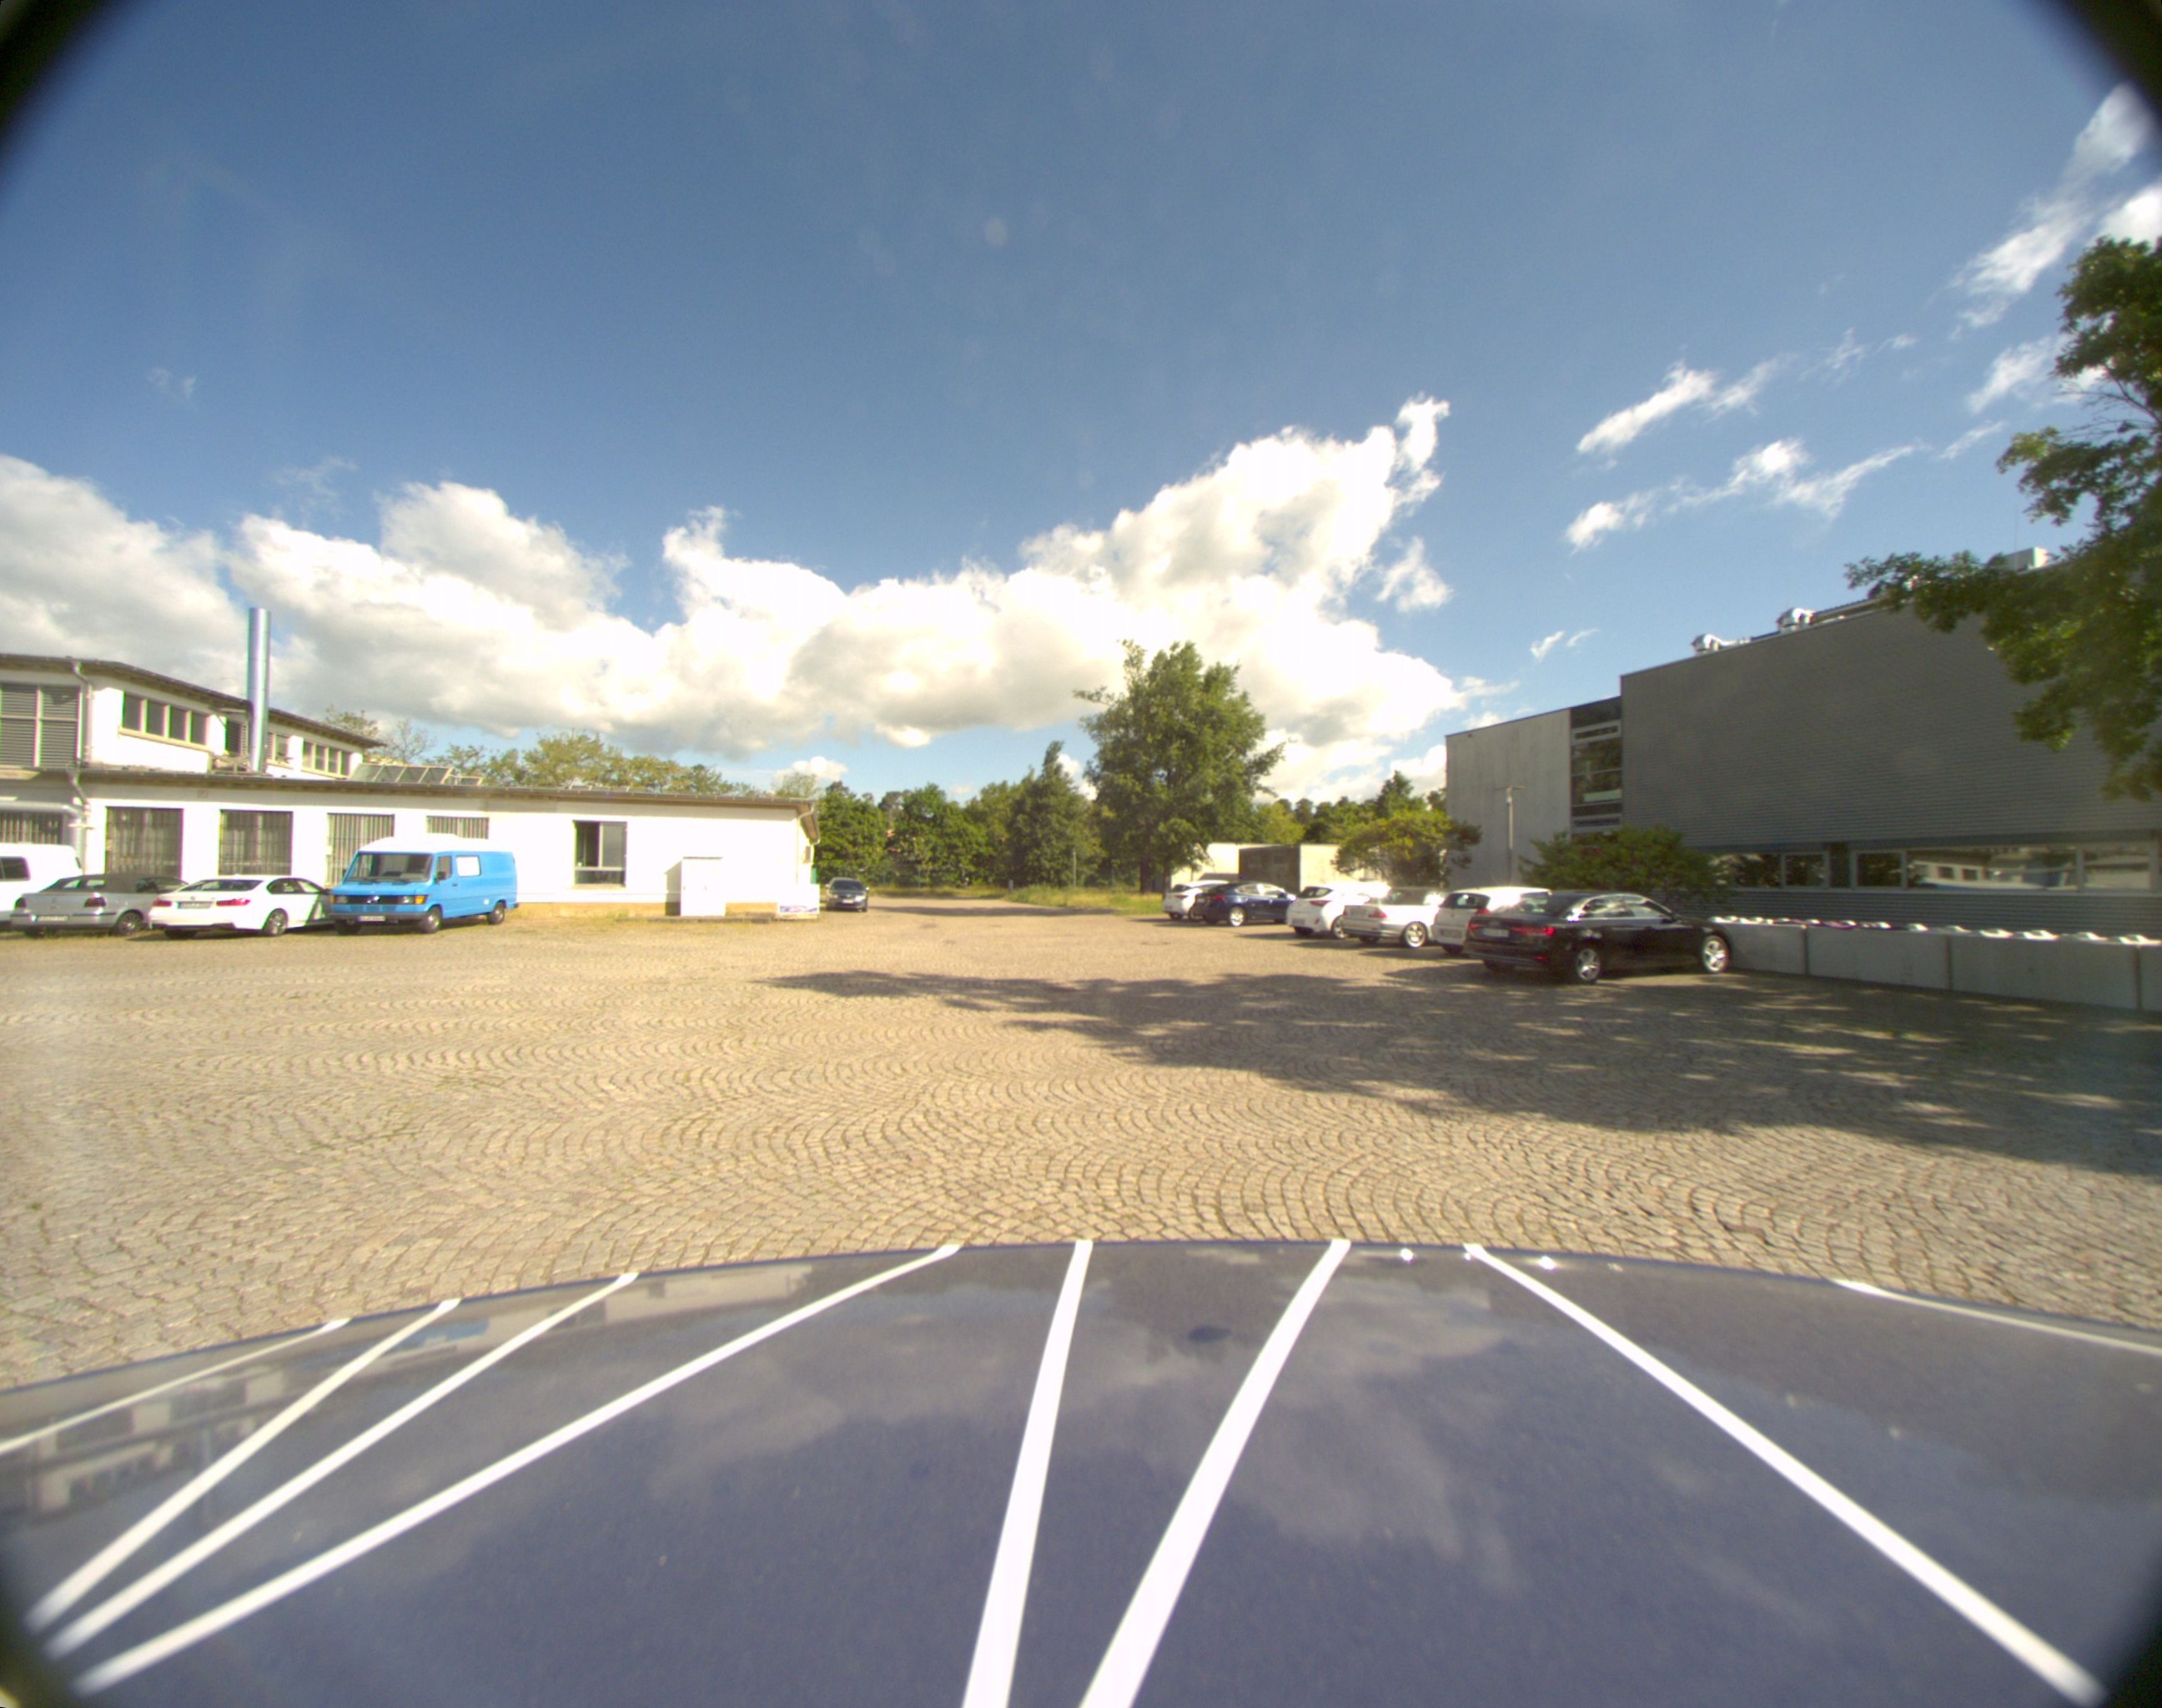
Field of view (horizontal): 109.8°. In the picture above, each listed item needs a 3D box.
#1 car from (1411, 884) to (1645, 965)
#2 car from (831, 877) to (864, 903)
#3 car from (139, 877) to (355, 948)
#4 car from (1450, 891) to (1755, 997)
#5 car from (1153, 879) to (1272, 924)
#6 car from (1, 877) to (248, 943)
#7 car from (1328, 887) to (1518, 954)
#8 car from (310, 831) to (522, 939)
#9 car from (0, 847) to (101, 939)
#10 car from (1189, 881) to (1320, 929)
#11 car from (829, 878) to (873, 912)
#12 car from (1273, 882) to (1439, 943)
[{"bbox_3d":[9.264,1.402,15.843,4.153,1.451,1.690,-1,-1,-13],"label":"car"},{"bbox_3d":[-13.522,2.066,43.955,1.694,1.426,3.981,2,-2,-17],"label":"car"},{"bbox_3d":[-19.530,1.291,18.063,1.739,1.397,3.733,0,0,-16],"label":"car"},{"bbox_3d":[8.786,1.404,12.818,4.738,1.414,1.754,-1,-1,-19],"label":"car"},{"bbox_3d":[4.805,1.697,27.857,3.928,1.427,1.793,-1,1,-17],"label":"car"},{"bbox_3d":[-22.466,1.250,18.109,1.693,1.390,3.827,1,-2,-16],"label":"car"},{"bbox_3d":[8.093,1.520,18.039,3.928,1.363,1.726,-1,-1,-17],"label":"car"},{"bbox_3d":[-17.257,0.801,20.162,2.091,2.468,5.233,1,-2,-15],"label":"car"},{"bbox_3d":[-25.113,0.862,16.610,2.011,2.069,4.799,1,-1,-15],"label":"car"},{"bbox_3d":[5.791,1.662,25.433,3.928,1.409,1.690,-1,-1,-17],"label":"car"},{"bbox_3d":[-10.444,1.831,34.427,1.771,1.426,3.987,2,-2,-17],"label":"car"},{"bbox_3d":[7.397,1.524,20.517,3.928,1.438,1.753,-1,-1,-17],"label":"car"}]
